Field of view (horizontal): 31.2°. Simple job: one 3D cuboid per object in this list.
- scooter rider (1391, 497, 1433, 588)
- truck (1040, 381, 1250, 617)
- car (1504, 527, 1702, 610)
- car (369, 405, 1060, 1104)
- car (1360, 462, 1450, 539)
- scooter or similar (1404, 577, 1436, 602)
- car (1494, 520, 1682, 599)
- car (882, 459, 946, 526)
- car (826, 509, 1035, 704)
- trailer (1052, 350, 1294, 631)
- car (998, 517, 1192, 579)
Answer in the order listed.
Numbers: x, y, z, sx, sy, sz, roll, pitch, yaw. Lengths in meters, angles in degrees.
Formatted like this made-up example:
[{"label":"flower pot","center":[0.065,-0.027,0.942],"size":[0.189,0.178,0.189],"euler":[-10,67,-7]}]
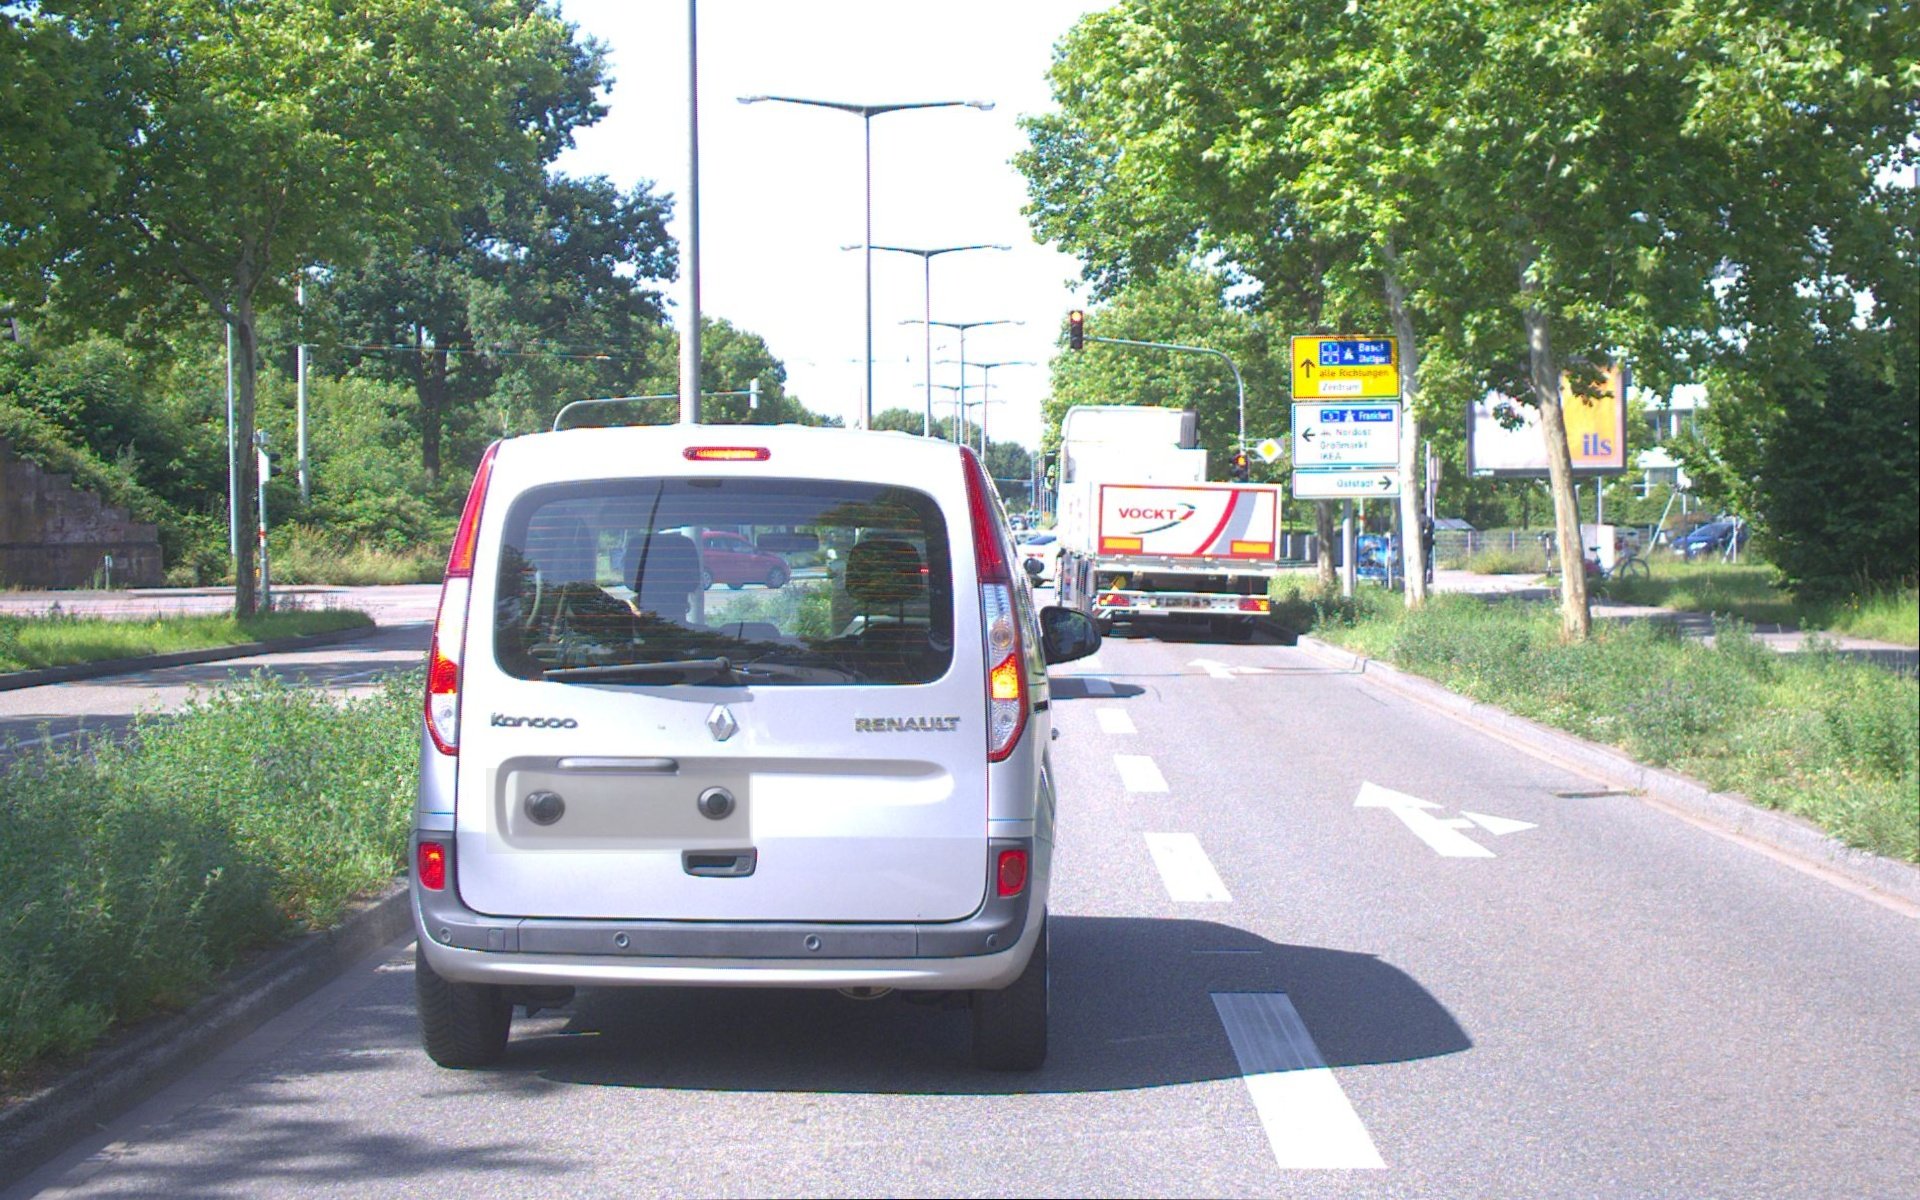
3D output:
[{"label":"scooter rider","center":[6.708,-0.847,51.056],"size":[0.497,1.333,0.563],"euler":[1,1,-2]},{"label":"truck","center":[3.065,-1.681,59.123],"size":[3.071,3.745,7.476],"euler":[1,1,0]},{"label":"car","center":[13.684,-0.683,73.355],"size":[3.988,1.656,1.723],"euler":[1,1,6]},{"label":"car","center":[-0.634,0.369,10.848],"size":[1.749,1.766,3.949],"euler":[1,1,0]},{"label":"car","center":[10.903,-2.425,84.413],"size":[1.816,1.789,3.443],"euler":[1,1,2]},{"label":"scooter or similar","center":[6.828,-0.162,51.080],"size":[0.378,0.356,0.556],"euler":[1,1,-2]},{"label":"car","center":[14.026,-0.909,76.960],"size":[3.988,1.656,1.723],"euler":[1,1,6]},{"label":"car","center":[-1.471,-3.363,108.496],"size":[1.713,2.007,4.001],"euler":[1,1,-5]},{"label":"car","center":[-0.322,0.027,32.266],"size":[1.809,1.678,4.000],"euler":[1,1,-2]},{"label":"trailer","center":[3.042,-1.571,52.597],"size":[3.016,3.728,12.240],"euler":[1,1,1]},{"label":"car","center":[3.320,-1.274,84.741],"size":[4.439,1.422,1.731],"euler":[1,1,-24]}]
